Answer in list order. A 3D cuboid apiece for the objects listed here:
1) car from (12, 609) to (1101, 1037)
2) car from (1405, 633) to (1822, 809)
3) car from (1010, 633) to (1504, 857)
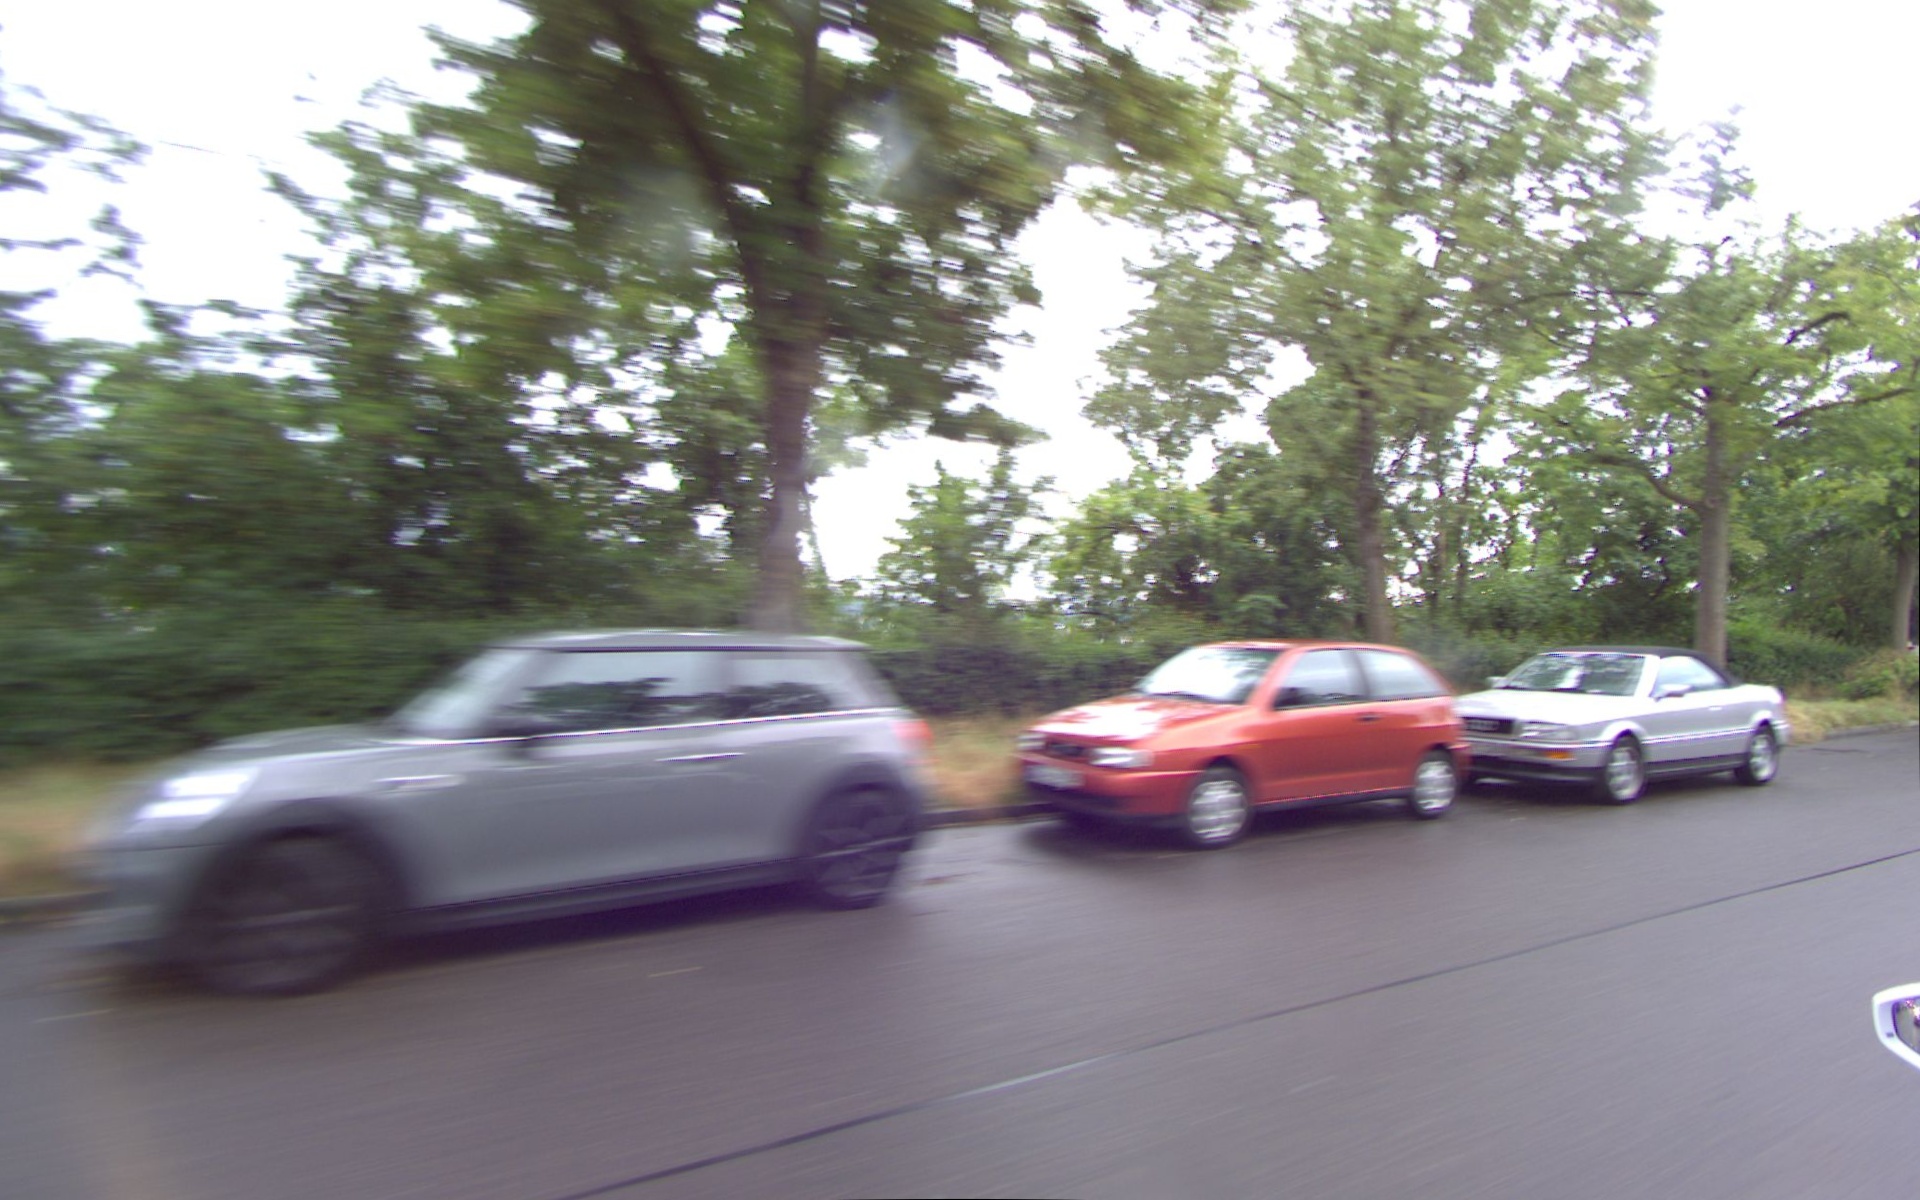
[{"bbox_3d":[-1.671,0.857,5.449,4.661,1.423,1.983,2,-3,-32],"label":"car"},{"bbox_3d":[6.638,1.090,10.093,4.367,1.421,1.746,2,-2,-30],"label":"car"},{"bbox_3d":[2.470,0.995,8.018,3.957,1.380,1.586,2,-2,-32],"label":"car"}]
